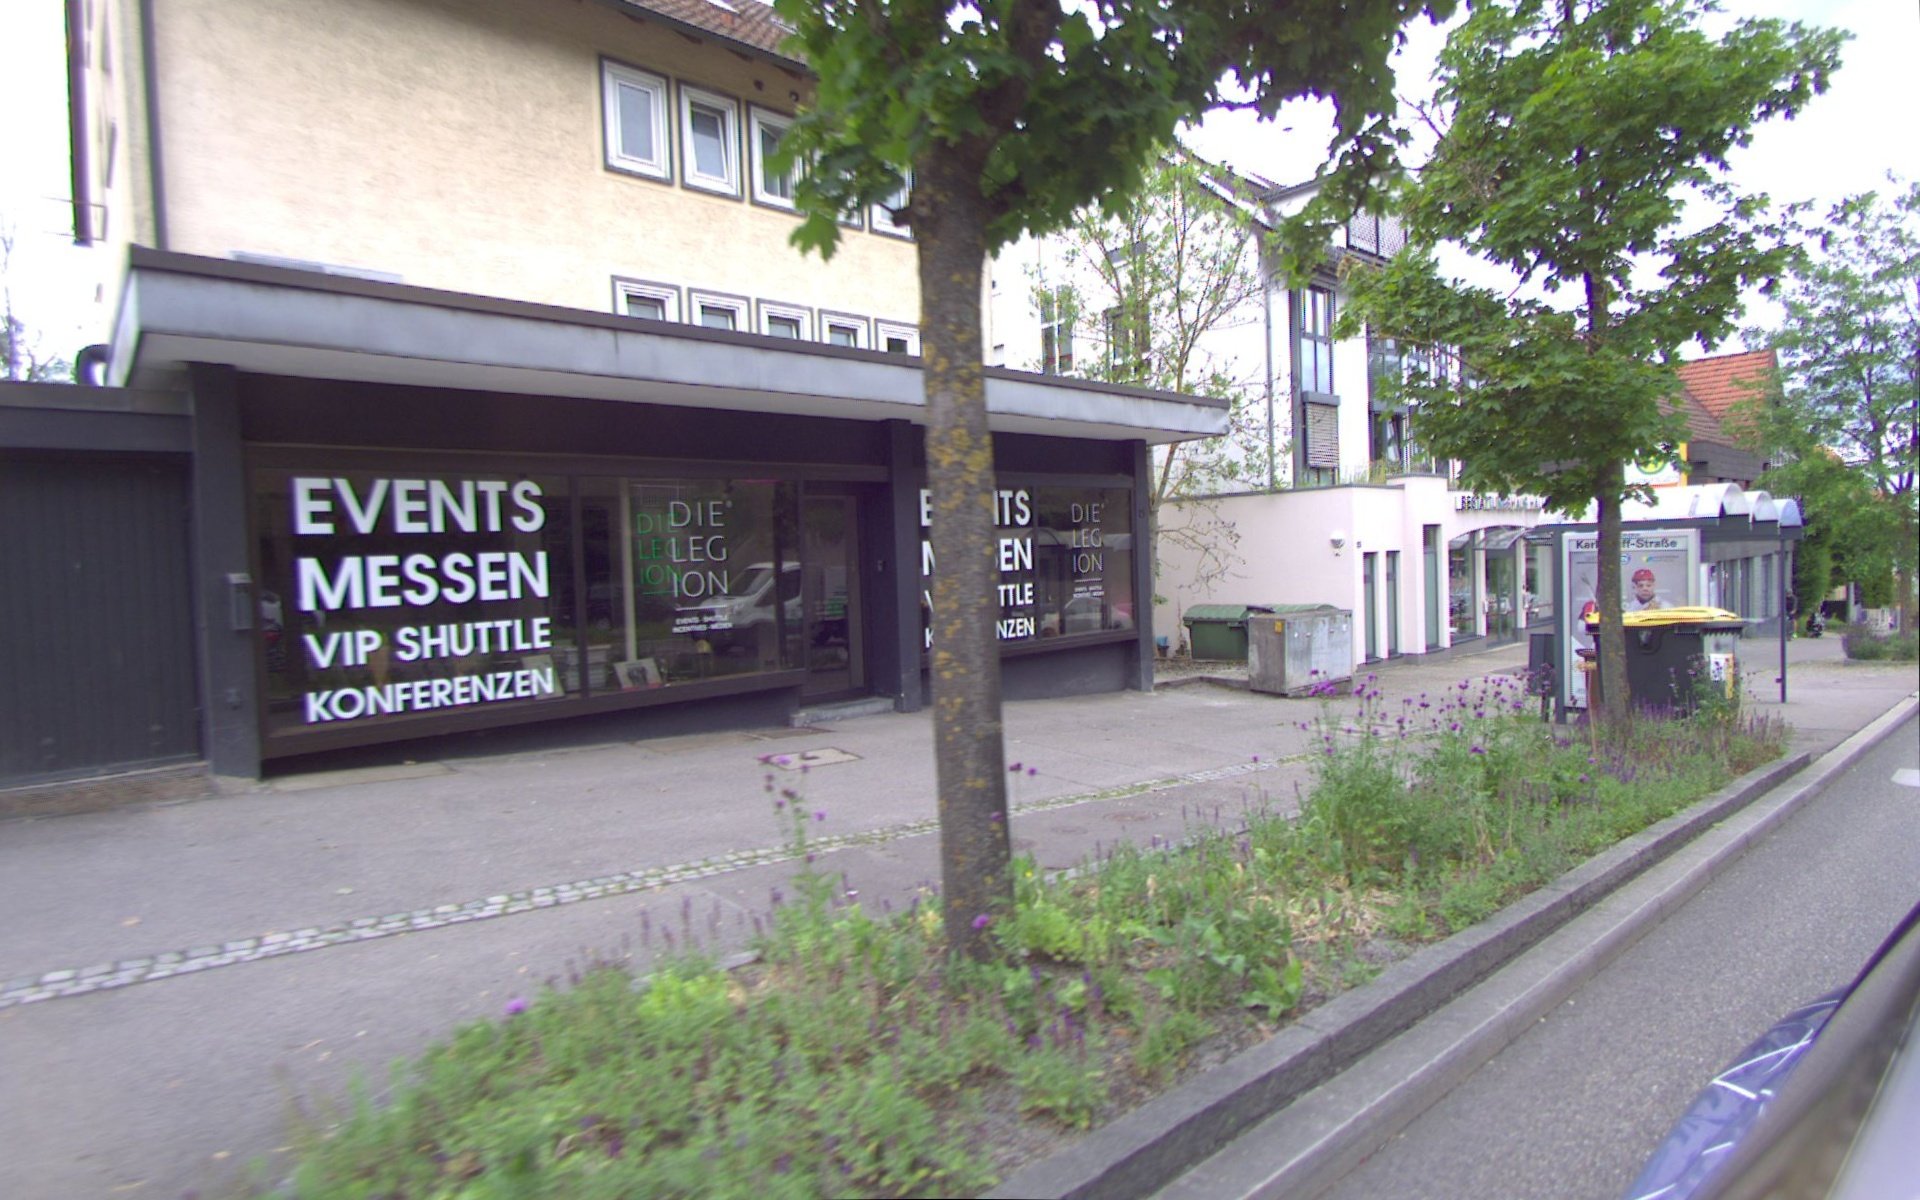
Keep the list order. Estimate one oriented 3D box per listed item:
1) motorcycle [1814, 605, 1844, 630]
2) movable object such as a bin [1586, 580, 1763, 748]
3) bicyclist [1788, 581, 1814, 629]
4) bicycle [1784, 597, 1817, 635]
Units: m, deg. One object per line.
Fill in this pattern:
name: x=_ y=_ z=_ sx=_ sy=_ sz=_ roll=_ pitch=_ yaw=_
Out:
motorcycle: x=38.096 y=0.747 z=44.359 sx=1.932 sy=1.064 sz=0.697 roll=0 pitch=1 yaw=-40
movable object such as a bin: x=7.053 y=0.573 z=9.979 sx=1.509 sy=1.500 sz=1.087 roll=0 pitch=-1 yaw=-40
bicyclist: x=29.218 y=0.185 z=35.173 sx=0.930 sy=1.654 sz=0.538 roll=1 pitch=-1 yaw=-41
bicycle: x=29.018 y=0.556 z=34.927 sx=2.003 sy=1.278 sz=0.572 roll=2 pitch=0 yaw=-42
